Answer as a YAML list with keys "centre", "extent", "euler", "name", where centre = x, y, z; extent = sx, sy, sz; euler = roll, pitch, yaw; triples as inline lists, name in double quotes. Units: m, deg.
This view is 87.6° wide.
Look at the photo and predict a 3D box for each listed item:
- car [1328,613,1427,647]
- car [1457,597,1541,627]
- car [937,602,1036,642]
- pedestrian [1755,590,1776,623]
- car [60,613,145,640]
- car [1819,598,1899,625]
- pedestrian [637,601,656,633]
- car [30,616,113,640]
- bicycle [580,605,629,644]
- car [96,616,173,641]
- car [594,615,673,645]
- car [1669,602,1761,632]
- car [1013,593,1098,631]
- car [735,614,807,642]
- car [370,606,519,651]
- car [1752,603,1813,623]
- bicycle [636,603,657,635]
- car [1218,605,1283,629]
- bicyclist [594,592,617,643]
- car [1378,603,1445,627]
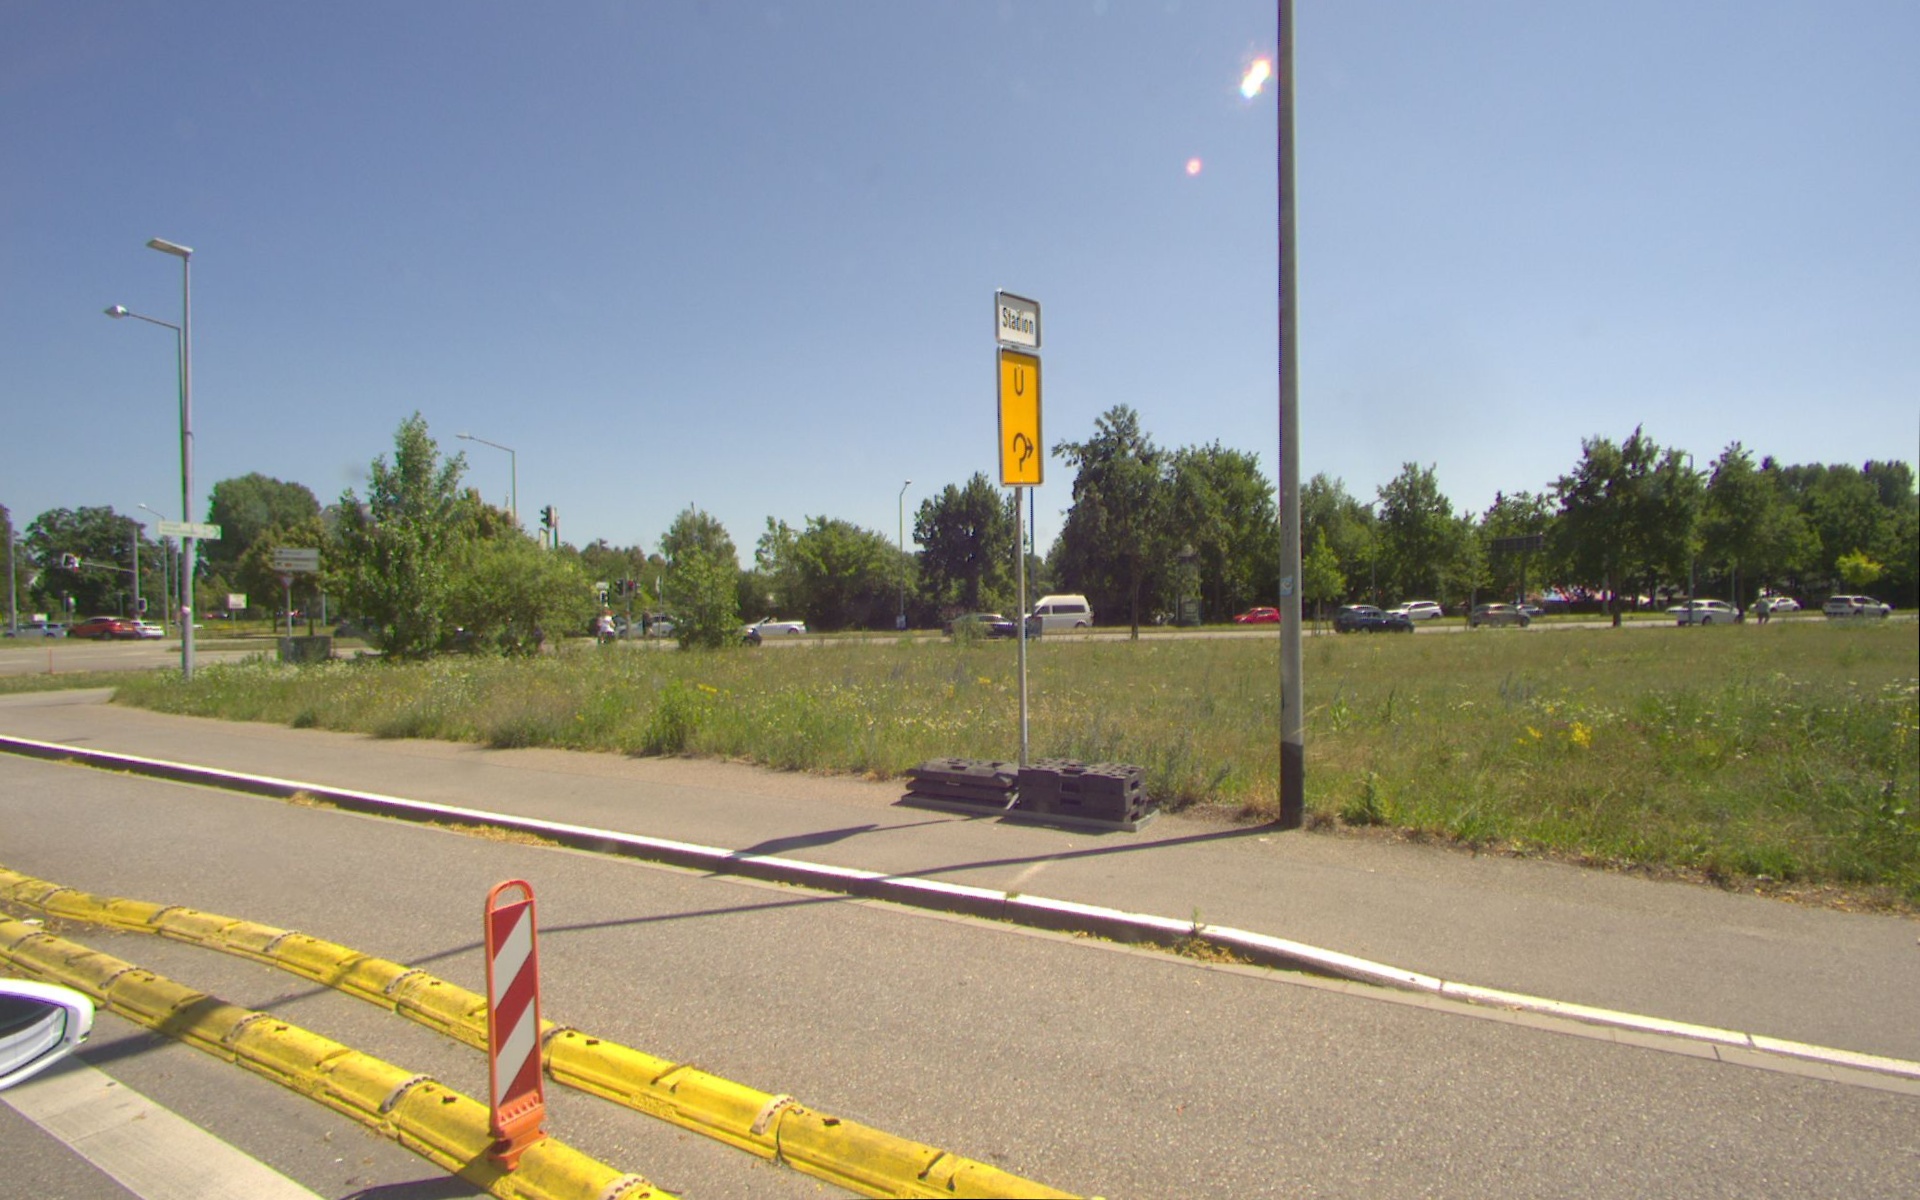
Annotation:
- centre: [22.165, 1.587, 53.212]
  extent: [4.559, 1.758, 1.999]
  euler: [0, -2, -13]
  name: "car"
- centre: [33.512, 0.761, 62.238]
  extent: [4.563, 1.758, 1.997]
  euler: [0, -2, -18]
  name: "car"
- centre: [1.324, 1.124, 50.295]
  extent: [4.564, 1.961, 1.996]
  euler: [1, -2, -19]
  name: "car"
- centre: [39.831, 0.338, 49.518]
  extent: [0.548, 1.611, 0.662]
  euler: [1, -1, -32]
  name: "pedestrian"
- centre: [-57.503, 1.777, 67.173]
  extent: [4.359, 1.758, 1.849]
  euler: [0, -2, 7]
  name: "car"
- centre: [60.590, 0.784, 67.469]
  extent: [4.563, 1.758, 1.997]
  euler: [0, -2, -18]
  name: "car"
- centre: [-16.712, 0.908, 53.421]
  extent: [0.954, 1.681, 0.885]
  euler: [0, -1, -16]
  name: "pedestrian"
- centre: [-67.804, 2.138, 76.472]
  extent: [4.361, 1.758, 1.848]
  euler: [0, -2, -10]
  name: "car"
- centre: [-13.158, 0.919, 37.172]
  extent: [0.628, 1.370, 2.896]
  euler: [0, -2, 4]
  name: "bicycle"
- centre: [-59.245, 2.038, 71.937]
  extent: [3.923, 1.794, 1.786]
  euler: [0, -2, -7]
  name: "car"
- centre: [-19.322, 1.780, 59.410]
  extent: [4.366, 1.758, 1.846]
  euler: [0, -2, -16]
  name: "car"
- centre: [45.642, 1.045, 60.552]
  extent: [4.559, 1.758, 1.999]
  euler: [0, -2, -13]
  name: "car"
- centre: [6.280, 0.845, 66.213]
  extent: [5.233, 2.427, 1.991]
  euler: [0, -2, -16]
  name: "car"
- centre: [-12.111, 1.776, 64.040]
  extent: [4.366, 1.758, 1.846]
  euler: [0, -2, -16]
  name: "car"
- centre: [-21.034, 1.175, 40.973]
  extent: [5.260, 1.758, 1.988]
  euler: [1, -2, -33]
  name: "car"
- centre: [70.134, 1.129, 85.412]
  extent: [4.366, 1.612, 1.846]
  euler: [0, -2, -16]
  name: "car"
- centre: [-16.756, 1.043, 53.558]
  extent: [0.967, 1.617, 2.879]
  euler: [0, -2, -16]
  name: "bicycle"
- centre: [21.455, 1.293, 74.012]
  extent: [4.366, 1.758, 1.846]
  euler: [0, -2, -16]
  name: "car"
- centre: [-13.154, 0.656, 37.166]
  extent: [0.597, 1.864, 0.572]
  euler: [0, -1, 2]
  name: "bicyclist"
- centre: [33.470, 1.118, 74.223]
  extent: [4.366, 1.758, 1.846]
  euler: [0, -2, -16]
  name: "car"
